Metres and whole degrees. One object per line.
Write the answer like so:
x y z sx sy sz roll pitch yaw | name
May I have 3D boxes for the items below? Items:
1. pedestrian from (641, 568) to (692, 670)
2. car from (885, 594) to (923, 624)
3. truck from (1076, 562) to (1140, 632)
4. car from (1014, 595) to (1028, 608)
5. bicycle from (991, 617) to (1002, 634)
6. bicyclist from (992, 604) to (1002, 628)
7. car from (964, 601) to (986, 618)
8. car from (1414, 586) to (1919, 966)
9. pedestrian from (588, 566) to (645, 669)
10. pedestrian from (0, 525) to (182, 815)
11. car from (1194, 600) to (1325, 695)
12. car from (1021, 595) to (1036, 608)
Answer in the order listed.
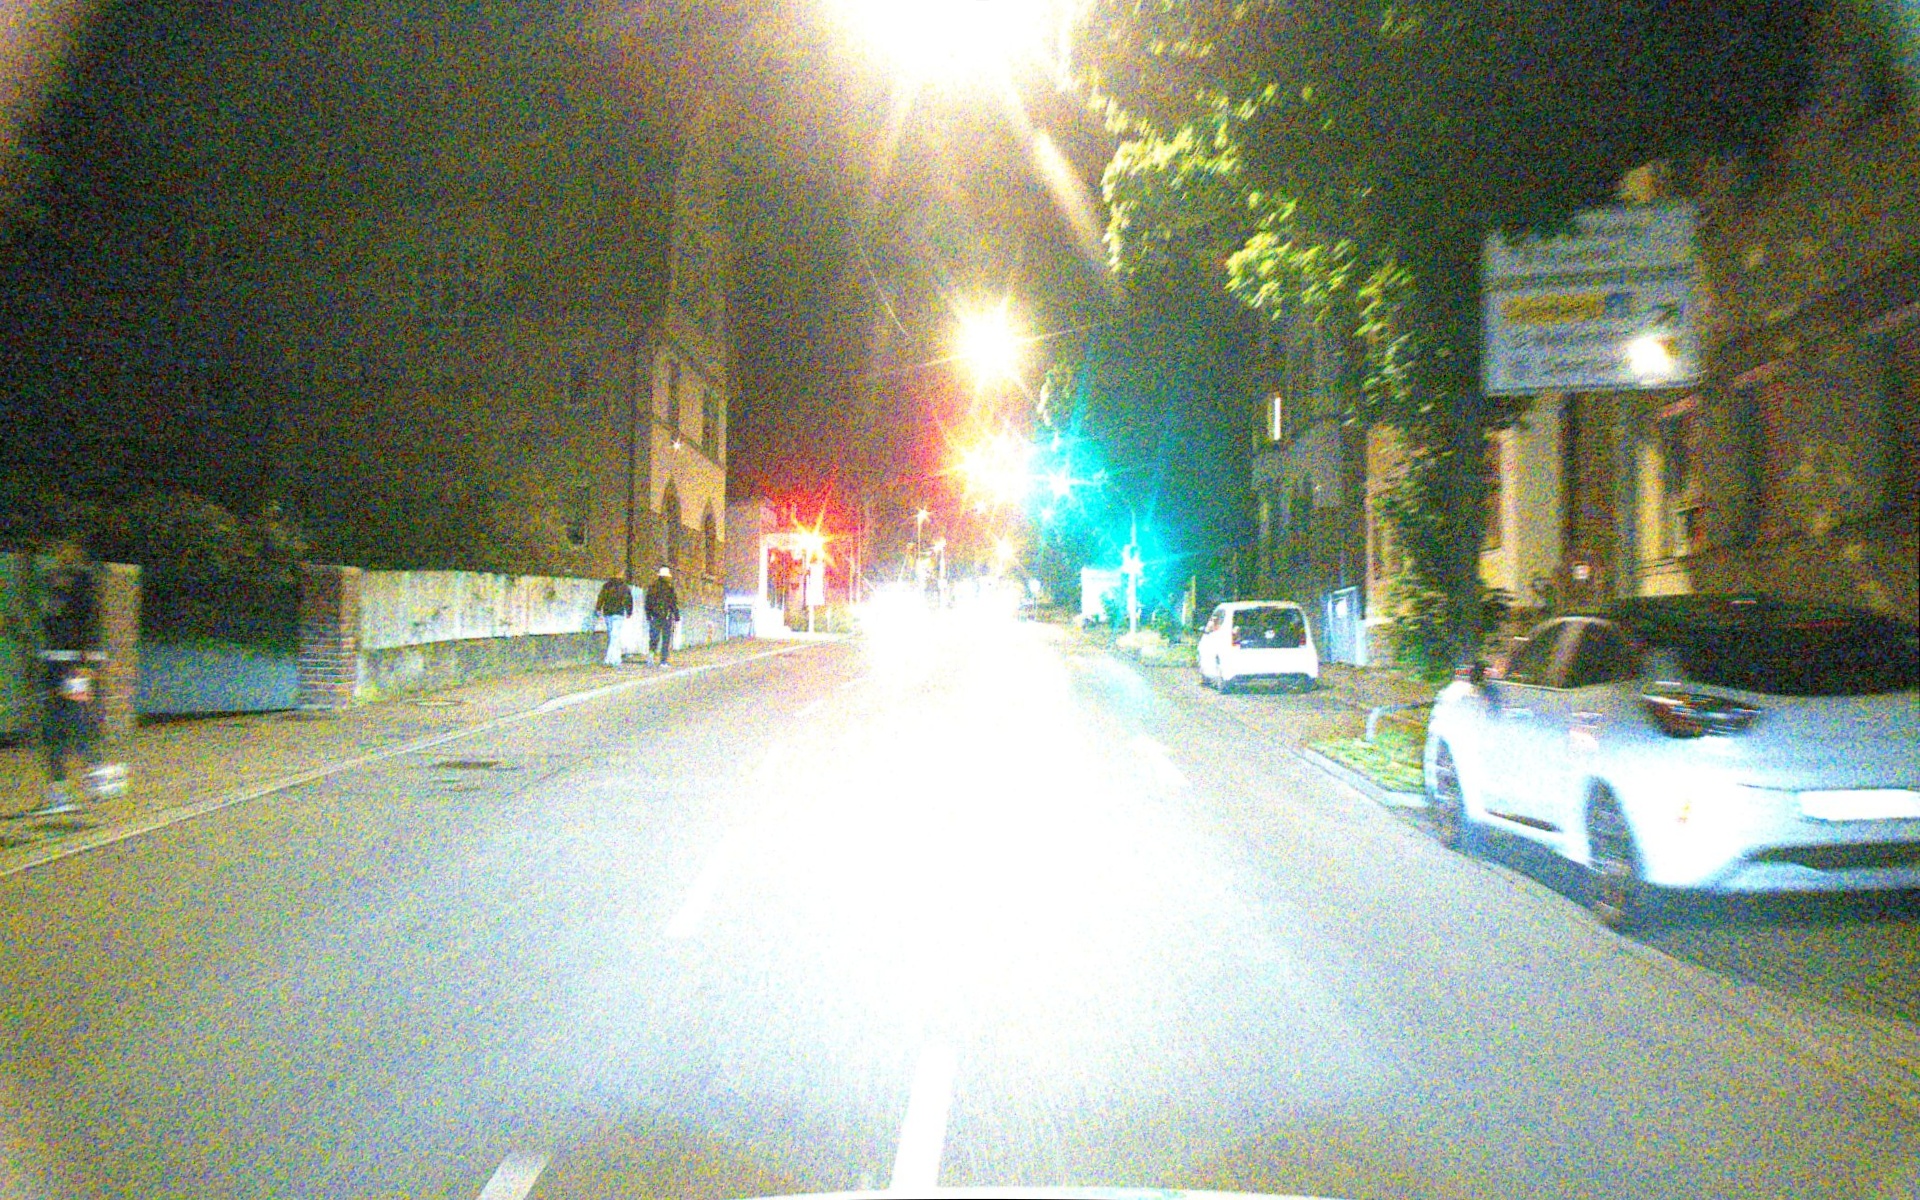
-5.269 0.338 29.727 0.661 1.776 1.029 1 -1 1 | pedestrian
-3.129 0.497 92.512 1.819 1.561 4.028 2 0 2 | car
7.072 -0.130 79.757 2.692 3.165 6.260 2 0 2 | truck
7.527 0.184 204.738 1.600 1.477 3.485 2 0 2 | car
2.584 1.769 116.575 0.681 1.169 1.951 1 -1 2 | bicycle
2.615 1.099 116.660 0.676 1.666 0.896 1 -1 2 | bicyclist
1.379 0.850 150.884 1.877 1.413 4.583 2 0 1 | car
3.953 0.737 9.006 1.822 1.581 4.045 -1 0 0 | car
-6.055 0.312 29.195 0.727 1.776 1.103 1 -1 1 | pedestrian
-5.504 0.416 10.308 0.727 1.701 1.103 1 -1 1 | pedestrian
5.037 0.762 28.225 1.633 1.510 3.604 -1 0 1 | car
7.840 0.158 188.671 1.600 1.477 3.485 2 0 2 | car
